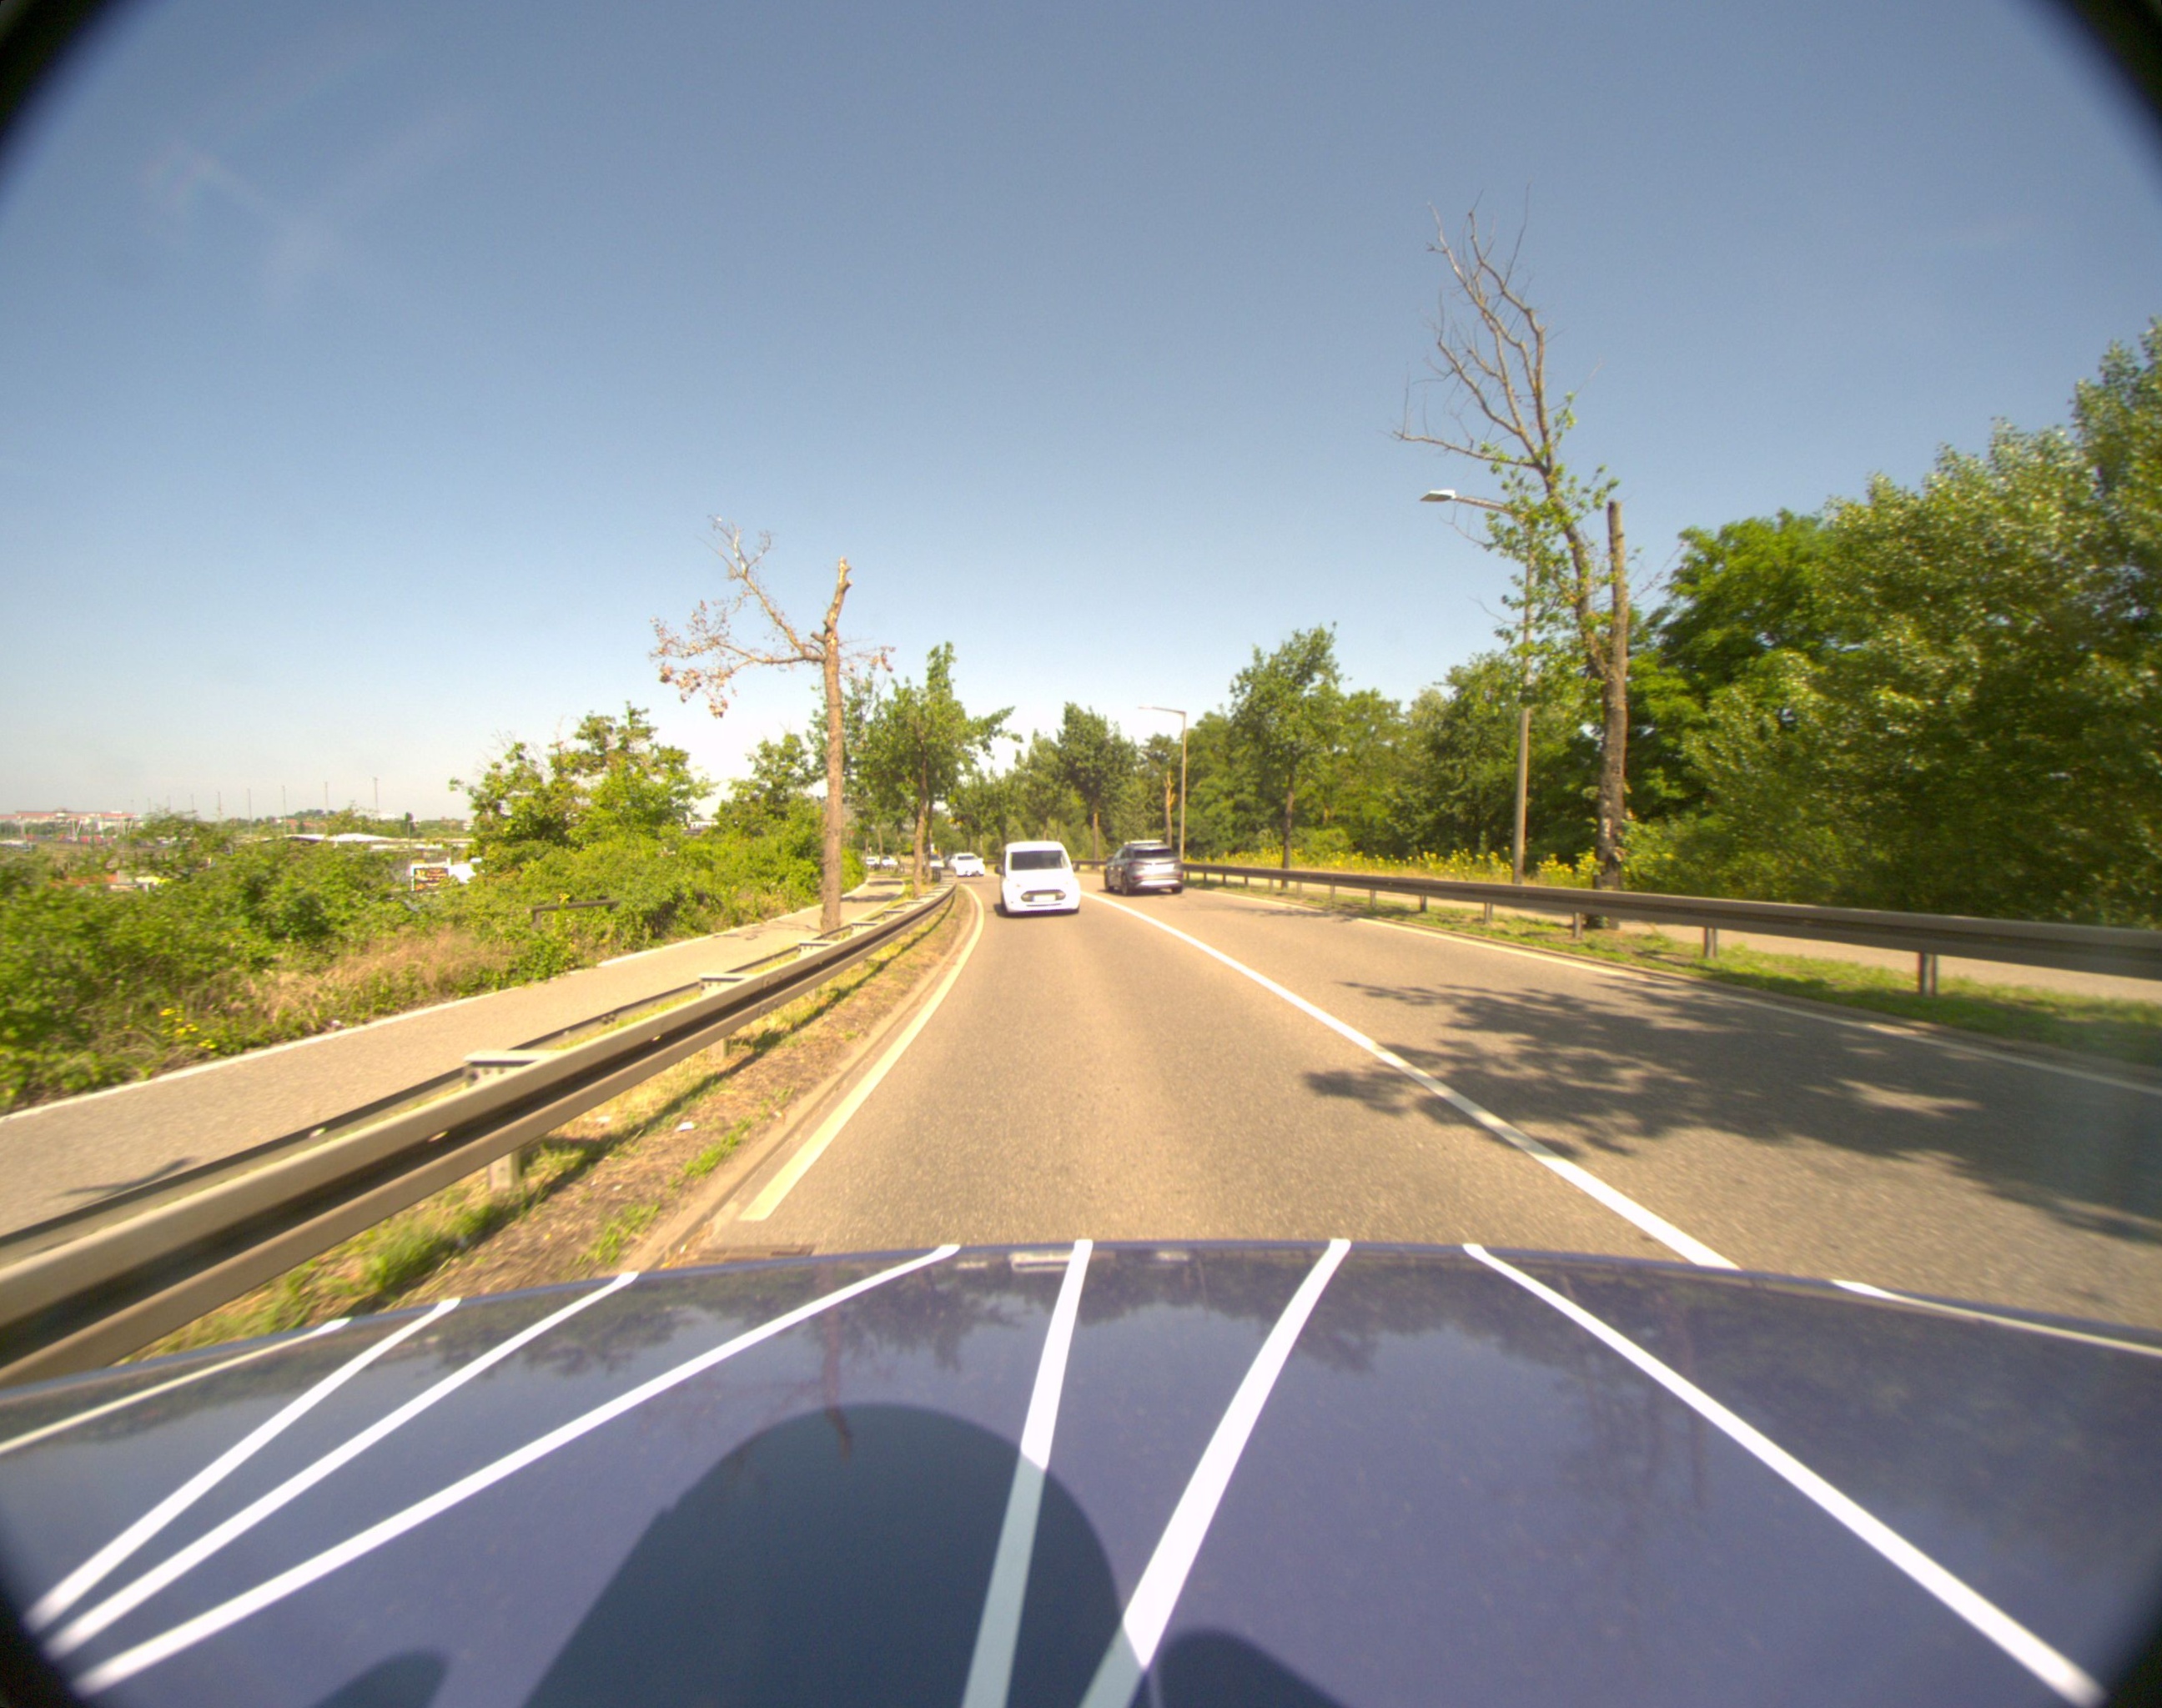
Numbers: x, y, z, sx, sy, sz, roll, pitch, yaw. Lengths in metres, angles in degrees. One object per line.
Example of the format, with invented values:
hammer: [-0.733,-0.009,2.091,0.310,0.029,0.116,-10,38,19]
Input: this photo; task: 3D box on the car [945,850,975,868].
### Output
car: [-10.823,0.451,67.691,1.709,1.440,4.113,-4,2,-22]

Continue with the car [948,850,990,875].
car: [-7.187,0.519,48.376,1.849,1.480,4.145,-2,1,-19]

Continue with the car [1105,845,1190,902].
car: [2.061,0.564,24.785,1.936,1.525,4.113,-3,2,-6]

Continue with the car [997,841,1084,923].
car: [-1.158,0.620,19.533,1.898,1.785,4.444,-2,1,-6]

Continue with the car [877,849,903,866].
car: [-21.487,0.358,85.353,2.002,1.757,3.991,-4,2,-26]

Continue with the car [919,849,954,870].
car: [-11.712,0.439,61.337,2.002,1.576,3.992,-2,1,-23]
